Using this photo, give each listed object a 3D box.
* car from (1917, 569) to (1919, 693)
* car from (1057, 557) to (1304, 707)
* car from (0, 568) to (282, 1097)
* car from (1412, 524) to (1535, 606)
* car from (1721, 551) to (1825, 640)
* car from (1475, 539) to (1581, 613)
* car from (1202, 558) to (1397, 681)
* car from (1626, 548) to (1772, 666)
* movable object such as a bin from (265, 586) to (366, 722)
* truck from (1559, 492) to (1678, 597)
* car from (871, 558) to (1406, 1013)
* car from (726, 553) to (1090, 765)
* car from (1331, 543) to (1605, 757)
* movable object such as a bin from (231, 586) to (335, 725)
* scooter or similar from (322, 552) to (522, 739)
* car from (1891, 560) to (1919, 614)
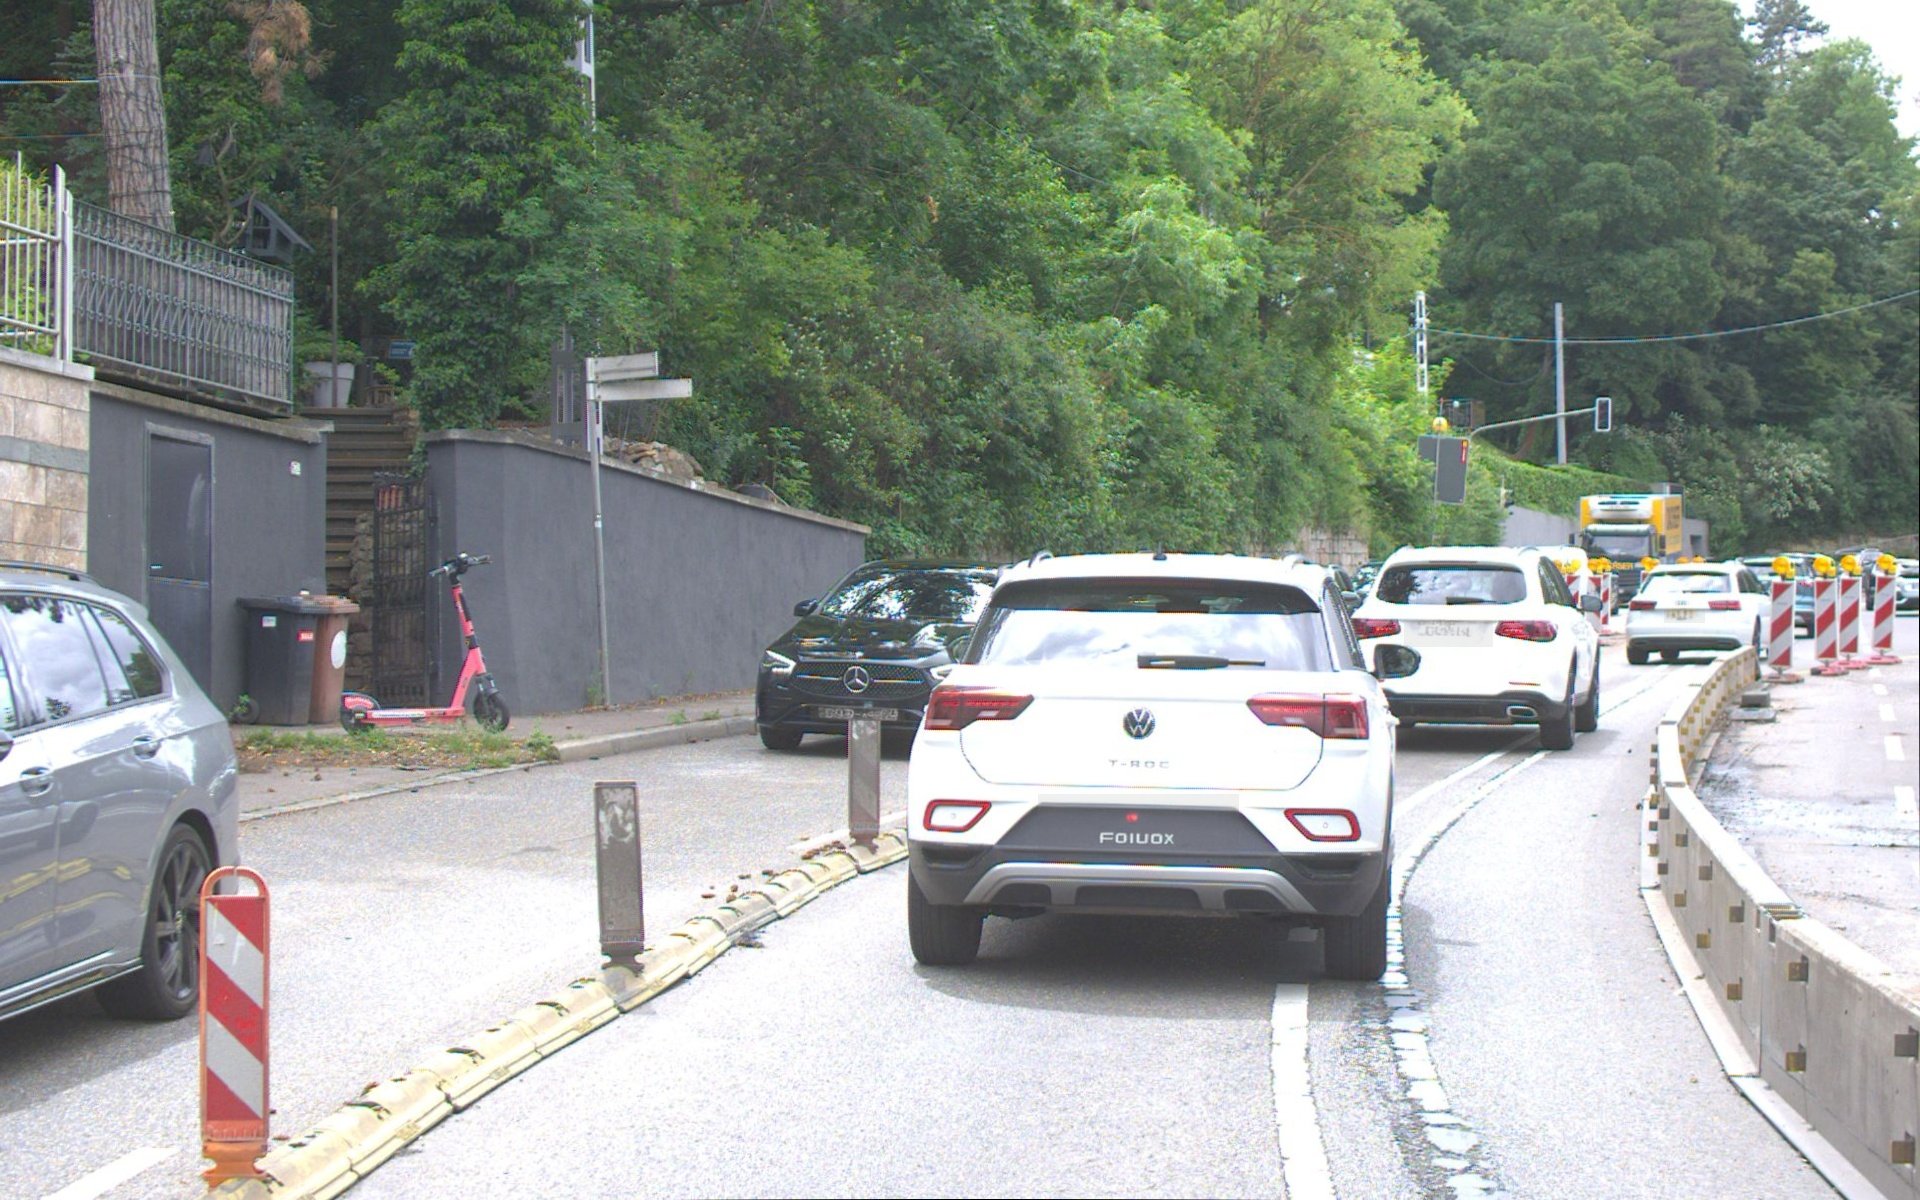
[{"bbox_3d":[11.953,0.327,39.530,1.795,1.363,3.997,0,1,16],"label":"car"},{"bbox_3d":[2.440,0.307,36.982,1.769,1.447,4.305,2,1,15],"label":"car"},{"bbox_3d":[-3.460,0.626,9.695,1.768,1.430,4.307,1,1,7],"label":"car"},{"bbox_3d":[9.861,-0.667,65.813,1.769,1.447,4.305,2,1,15],"label":"car"},{"bbox_3d":[15.605,-0.108,65.905,1.811,1.657,3.997,0,1,15],"label":"car"},{"bbox_3d":[11.995,-0.508,72.397,1.769,1.447,4.306,2,1,15],"label":"car"},{"bbox_3d":[4.447,0.225,44.528,1.769,1.447,4.305,2,1,15],"label":"car"},{"bbox_3d":[10.914,0.068,50.612,1.811,1.657,3.997,0,1,16],"label":"car"},{"bbox_3d":[-4.679,0.386,24.971,0.549,0.973,0.509,0,0,15],"label":"movable object such as a bin"},{"bbox_3d":[20.677,-1.691,107.622,2.906,3.144,7.578,0,0,17],"label":"truck"},{"bbox_3d":[0.861,0.615,13.821,1.810,1.526,3.999,1,1,8],"label":"car"},{"bbox_3d":[-0.303,0.395,26.556,1.768,1.430,4.306,2,1,13],"label":"car"},{"bbox_3d":[4.327,0.356,28.813,1.811,1.657,3.997,0,1,15],"label":"car"},{"bbox_3d":[-4.807,0.388,24.427,0.549,0.973,0.509,0,0,15],"label":"movable object such as a bin"},{"bbox_3d":[-3.688,0.309,23.557,1.308,1.251,0.467,1,1,-12],"label":"scooter or similar"},{"bbox_3d":[25.137,-0.352,89.219,1.795,1.363,3.997,0,1,14],"label":"car"}]
